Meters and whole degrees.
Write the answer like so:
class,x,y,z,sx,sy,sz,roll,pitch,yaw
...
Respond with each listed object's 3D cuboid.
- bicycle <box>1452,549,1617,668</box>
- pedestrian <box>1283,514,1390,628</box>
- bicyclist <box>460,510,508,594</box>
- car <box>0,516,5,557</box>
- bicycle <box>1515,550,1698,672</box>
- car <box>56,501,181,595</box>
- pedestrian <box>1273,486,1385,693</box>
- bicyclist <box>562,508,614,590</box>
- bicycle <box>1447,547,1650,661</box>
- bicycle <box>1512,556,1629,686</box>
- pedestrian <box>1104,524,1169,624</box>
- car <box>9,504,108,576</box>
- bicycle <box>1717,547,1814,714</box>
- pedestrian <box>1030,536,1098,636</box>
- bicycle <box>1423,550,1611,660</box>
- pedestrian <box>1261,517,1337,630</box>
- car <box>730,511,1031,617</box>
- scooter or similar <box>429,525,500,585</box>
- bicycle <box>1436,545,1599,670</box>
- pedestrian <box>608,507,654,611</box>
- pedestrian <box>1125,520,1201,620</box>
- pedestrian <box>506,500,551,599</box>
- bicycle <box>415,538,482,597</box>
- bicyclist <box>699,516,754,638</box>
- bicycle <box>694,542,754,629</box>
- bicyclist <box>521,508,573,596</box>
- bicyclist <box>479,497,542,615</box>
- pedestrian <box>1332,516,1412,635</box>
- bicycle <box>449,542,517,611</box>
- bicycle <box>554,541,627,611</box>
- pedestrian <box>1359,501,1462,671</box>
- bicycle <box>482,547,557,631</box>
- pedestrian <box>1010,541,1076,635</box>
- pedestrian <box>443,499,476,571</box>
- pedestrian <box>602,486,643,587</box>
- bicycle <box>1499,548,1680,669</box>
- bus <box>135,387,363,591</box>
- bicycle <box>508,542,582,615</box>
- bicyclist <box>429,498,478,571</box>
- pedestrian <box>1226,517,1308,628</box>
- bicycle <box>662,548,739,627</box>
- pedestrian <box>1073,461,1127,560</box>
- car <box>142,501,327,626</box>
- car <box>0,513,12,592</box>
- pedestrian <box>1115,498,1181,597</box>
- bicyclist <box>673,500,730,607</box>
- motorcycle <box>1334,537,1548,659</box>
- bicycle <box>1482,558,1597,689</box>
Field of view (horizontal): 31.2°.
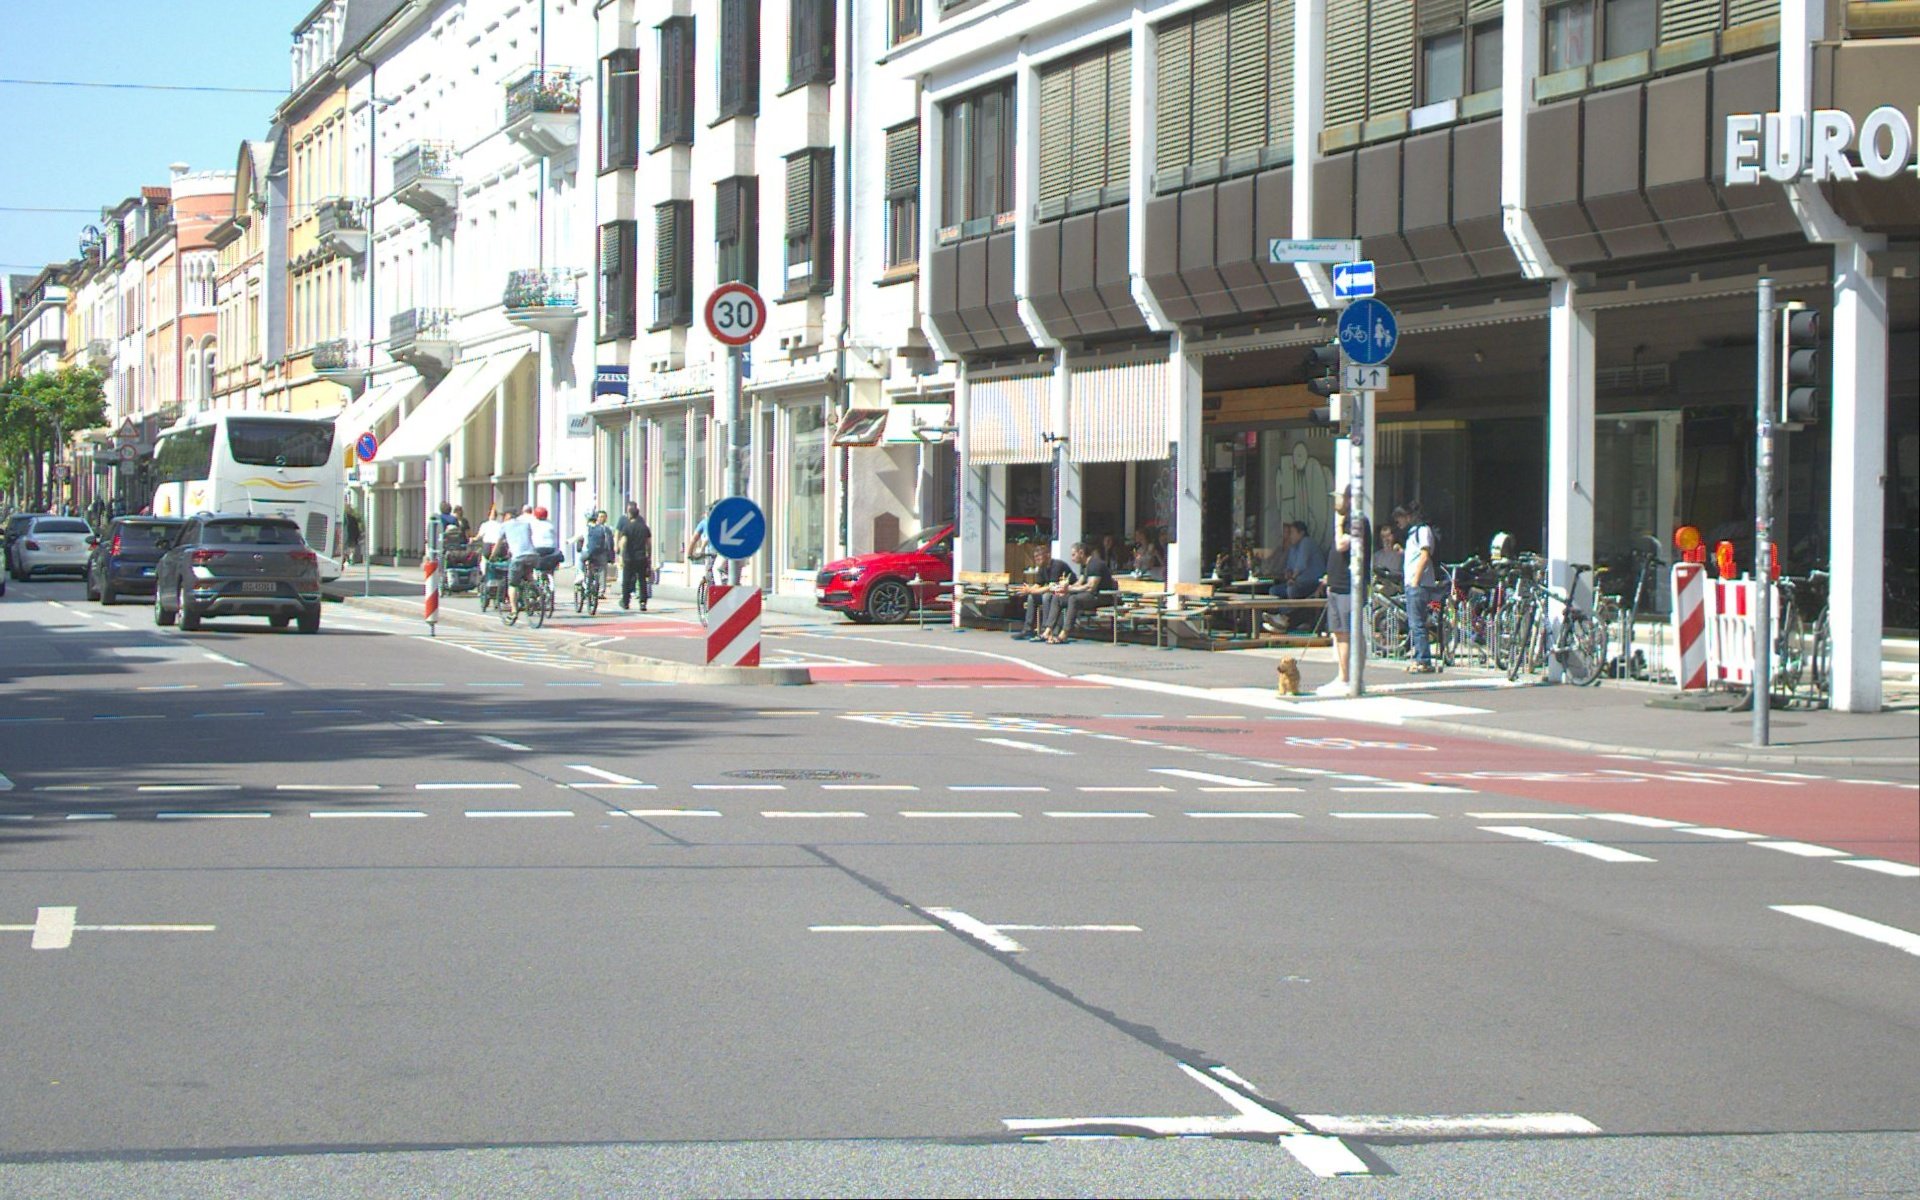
class,x,y,z,sx,sy,sz,roll,pitch,yaw
bicycle,5.571,0.077,33.325,1.570,1.116,0.278,-1,2,-11
pedestrian,4.544,-0.345,41.503,0.895,1.346,1.106,0,0,-19
bicyclist,-7.827,-0.794,56.530,0.620,1.366,0.781,1,1,-20
car,-35.119,-2.284,122.586,1.862,1.436,4.001,0,2,-19
bicycle,6.114,0.098,32.530,1.716,1.116,0.278,-1,2,-11
car,-14.355,-0.866,58.523,1.832,1.522,4.001,-1,1,-17
pedestrian,3.311,-0.090,30.889,0.832,1.829,0.697,0,-1,-9
bicyclist,-5.991,-0.820,55.314,0.620,1.292,0.867,1,1,-20
bicycle,5.923,0.043,34.525,2.235,1.116,0.278,0,1,-25
bicycle,5.593,0.173,31.587,0.276,1.116,2.244,0,2,-10
pedestrian,2.432,-0.364,47.470,0.760,1.363,0.478,0,1,-19
car,-20.163,-1.321,76.785,1.832,1.522,4.001,-1,1,-19
bicycle,6.874,0.250,29.300,0.376,1.060,1.471,0,15,28
pedestrian,1.270,-0.169,42.164,0.711,1.212,0.697,0,0,-9
bicycle,5.697,0.050,35.103,2.236,1.093,0.277,0,2,-31
pedestrian,4.196,-0.325,42.595,0.711,1.392,0.697,0,0,-19
car,-1.174,-0.522,50.217,4.043,1.489,1.842,0,-1,-16
scooter or similar,-9.344,-0.849,64.835,1.121,1.098,1.086,1,1,-20
bicycle,5.461,0.072,33.677,1.545,1.202,0.278,1,1,-11
pedestrian,-5.454,-0.678,56.942,0.620,1.714,0.836,0,1,-15
pedestrian,2.779,-0.412,47.097,0.876,1.363,0.537,0,1,-19
pedestrian,-7.546,-0.880,60.147,0.620,1.714,0.836,0,1,-18
bicycle,-9.908,-0.637,66.546,0.837,1.095,2.353,1,1,-20
bicyclist,-3.147,-0.316,46.256,0.694,1.620,0.835,0,1,-7
bicycle,-3.189,-0.203,46.326,0.594,1.116,1.801,0,2,-10
bicyclist,-6.441,-0.746,53.584,0.620,1.350,0.847,1,1,-20
bicyclist,-6.614,-0.656,50.589,0.694,1.668,0.916,3,2,-17
pedestrian,4.862,-0.290,40.596,0.711,1.392,0.697,0,0,-19
bicycle,-7.865,-0.396,56.616,0.620,1.095,2.353,1,1,-20
bicycle,-5.942,-0.396,55.167,0.620,1.095,2.353,1,1,-20
pedestrian,4.439,-0.142,33.911,0.832,1.657,0.697,0,0,-9
bicycle,-6.500,-0.174,50.639,0.664,1.116,2.244,2,2,-18
pedestrian,1.032,-0.148,42.987,0.711,1.169,0.697,0,0,-9
pedestrian,-11.277,-1.463,77.436,0.645,1.612,0.822,0,0,-15
pedestrian,-6.238,-1.167,63.499,0.694,1.844,0.835,0,0,-9
bicycle,6.031,0.076,32.918,1.716,1.116,0.278,-1,2,-11
bus,-14.852,-2.269,70.959,2.880,3.729,12.431,2,1,-19
bicycle,-6.490,-0.340,53.707,0.620,1.095,2.353,1,1,-20
bicyclist,-9.758,-1.259,66.192,0.787,1.374,0.723,1,1,-20
pedestrian,3.869,-0.347,43.375,0.813,1.392,0.697,0,0,-20
bicycle,-3.761,-0.191,49.609,0.620,1.095,2.353,1,1,-16
pedestrian,1.943,-1.247,47.831,0.535,1.363,0.689,0,1,-18
car,-9.619,-0.482,45.380,1.832,1.522,4.001,2,0,-19
car,-18.920,-0.933,64.586,1.862,1.436,4.001,1,1,-19
pedestrian,2.634,-0.735,48.102,0.744,1.363,0.584,0,1,-19
bicyclist,-3.722,-0.672,49.508,0.620,1.524,0.869,1,1,-16
motorcycle,5.159,-0.023,36.802,2.237,1.286,0.948,0,0,10
bicycle,5.286,0.192,31.452,0.276,1.116,2.244,0,2,-10
